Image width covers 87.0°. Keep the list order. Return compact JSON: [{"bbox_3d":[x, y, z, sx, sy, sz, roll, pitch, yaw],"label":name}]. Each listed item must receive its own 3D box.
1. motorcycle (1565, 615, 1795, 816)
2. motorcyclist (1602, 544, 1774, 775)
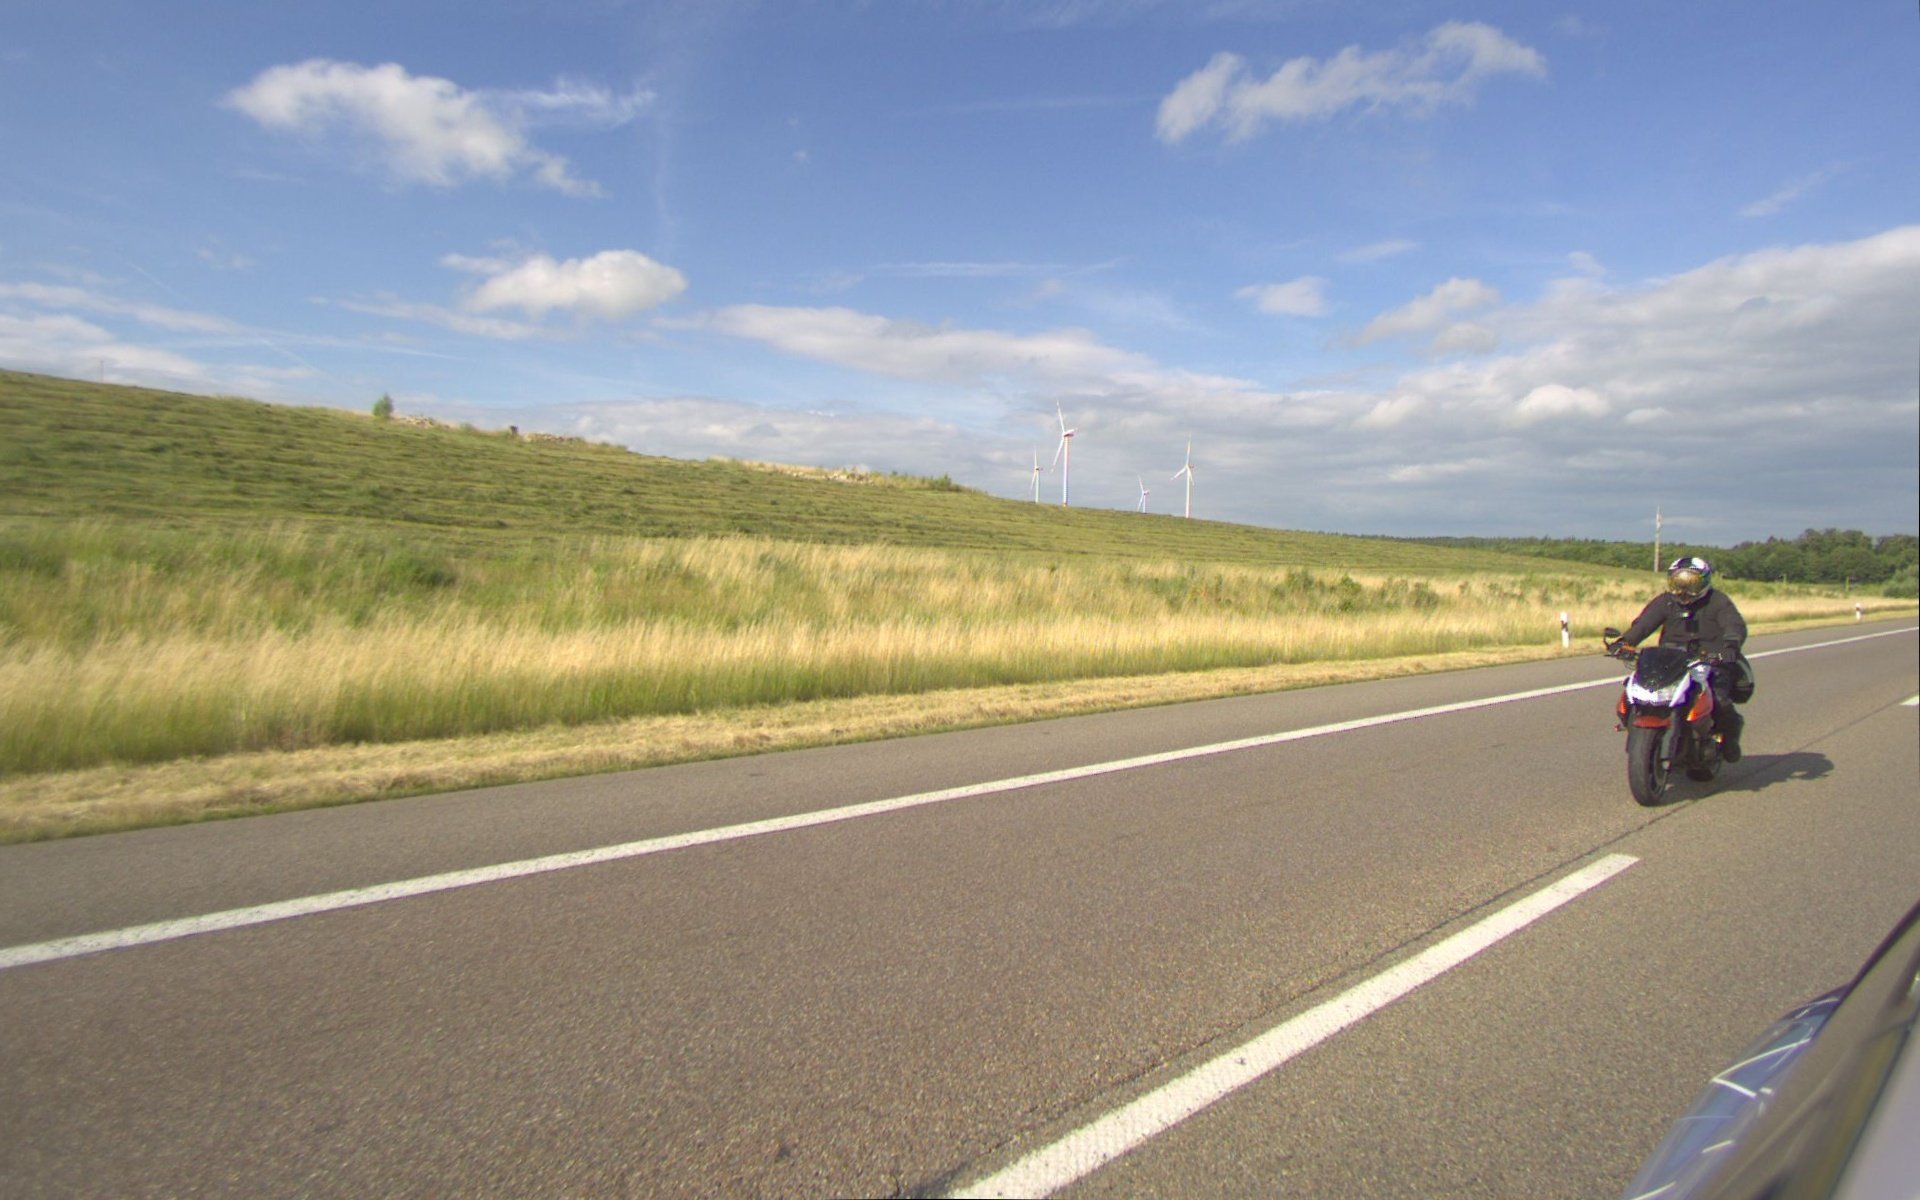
[{"bbox_3d":[5.377,0.750,7.498,2.217,1.205,0.897,-1,1,-41],"label":"motorcycle"},{"bbox_3d":[5.428,0.399,7.546,0.918,1.579,0.851,-1,0,-41],"label":"motorcyclist"}]
